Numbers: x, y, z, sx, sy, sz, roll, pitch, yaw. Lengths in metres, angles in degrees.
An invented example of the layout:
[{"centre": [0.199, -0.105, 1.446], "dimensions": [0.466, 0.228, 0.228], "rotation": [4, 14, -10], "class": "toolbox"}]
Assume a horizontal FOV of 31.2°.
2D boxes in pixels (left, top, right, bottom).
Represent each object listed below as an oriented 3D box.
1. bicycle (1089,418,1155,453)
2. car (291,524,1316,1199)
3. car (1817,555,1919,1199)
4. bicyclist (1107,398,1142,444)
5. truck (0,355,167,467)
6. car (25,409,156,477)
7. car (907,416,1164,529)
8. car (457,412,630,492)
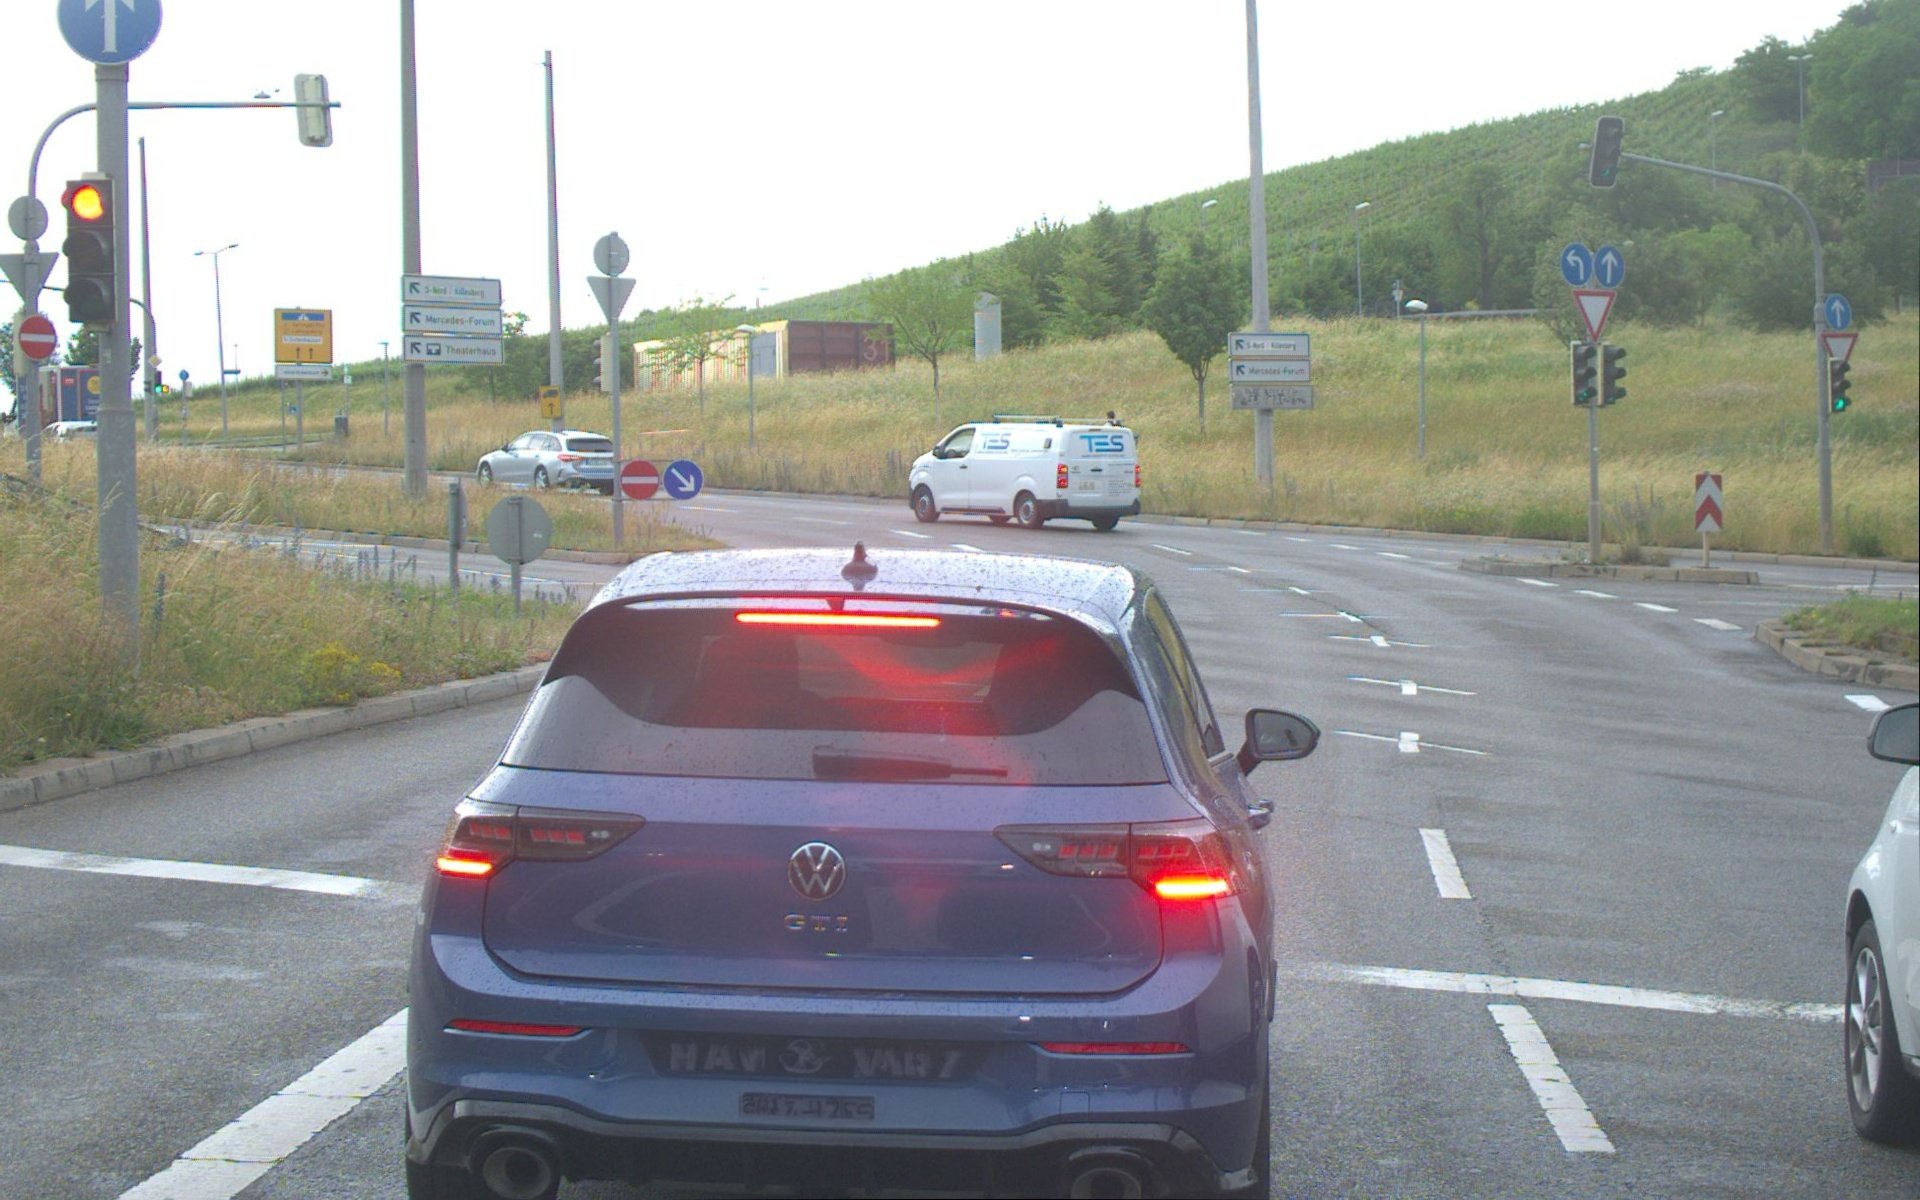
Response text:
[{"centre": [3.813, -3.876, 80.970], "dimensions": [0.518, 0.772, 1.620], "rotation": [2, 2, -42], "class": "bicycle"}, {"centre": [-0.165, 0.570, 8.035], "dimensions": [1.825, 1.455, 3.808], "rotation": [1, 2, 4], "class": "car"}, {"centre": [3.008, 0.659, 7.410], "dimensions": [1.658, 1.498, 3.450], "rotation": [1, 0, 4], "class": "car"}, {"centre": [3.871, -4.211, 80.926], "dimensions": [0.523, 1.043, 0.580], "rotation": [2, 2, -41], "class": "bicyclist"}, {"centre": [-26.647, -5.691, 103.135], "dimensions": [3.258, 3.064, 6.176], "rotation": [3, 2, -36], "class": "truck"}, {"centre": [-23.414, -4.208, 92.479], "dimensions": [1.994, 1.654, 4.353], "rotation": [0, 1, -35], "class": "car"}, {"centre": [1.310, -2.307, 61.718], "dimensions": [2.129, 1.788, 4.741], "rotation": [2, 2, -35], "class": "car"}, {"centre": [-9.538, -3.355, 78.501], "dimensions": [1.994, 1.654, 4.544], "rotation": [0, 1, -35], "class": "car"}]
